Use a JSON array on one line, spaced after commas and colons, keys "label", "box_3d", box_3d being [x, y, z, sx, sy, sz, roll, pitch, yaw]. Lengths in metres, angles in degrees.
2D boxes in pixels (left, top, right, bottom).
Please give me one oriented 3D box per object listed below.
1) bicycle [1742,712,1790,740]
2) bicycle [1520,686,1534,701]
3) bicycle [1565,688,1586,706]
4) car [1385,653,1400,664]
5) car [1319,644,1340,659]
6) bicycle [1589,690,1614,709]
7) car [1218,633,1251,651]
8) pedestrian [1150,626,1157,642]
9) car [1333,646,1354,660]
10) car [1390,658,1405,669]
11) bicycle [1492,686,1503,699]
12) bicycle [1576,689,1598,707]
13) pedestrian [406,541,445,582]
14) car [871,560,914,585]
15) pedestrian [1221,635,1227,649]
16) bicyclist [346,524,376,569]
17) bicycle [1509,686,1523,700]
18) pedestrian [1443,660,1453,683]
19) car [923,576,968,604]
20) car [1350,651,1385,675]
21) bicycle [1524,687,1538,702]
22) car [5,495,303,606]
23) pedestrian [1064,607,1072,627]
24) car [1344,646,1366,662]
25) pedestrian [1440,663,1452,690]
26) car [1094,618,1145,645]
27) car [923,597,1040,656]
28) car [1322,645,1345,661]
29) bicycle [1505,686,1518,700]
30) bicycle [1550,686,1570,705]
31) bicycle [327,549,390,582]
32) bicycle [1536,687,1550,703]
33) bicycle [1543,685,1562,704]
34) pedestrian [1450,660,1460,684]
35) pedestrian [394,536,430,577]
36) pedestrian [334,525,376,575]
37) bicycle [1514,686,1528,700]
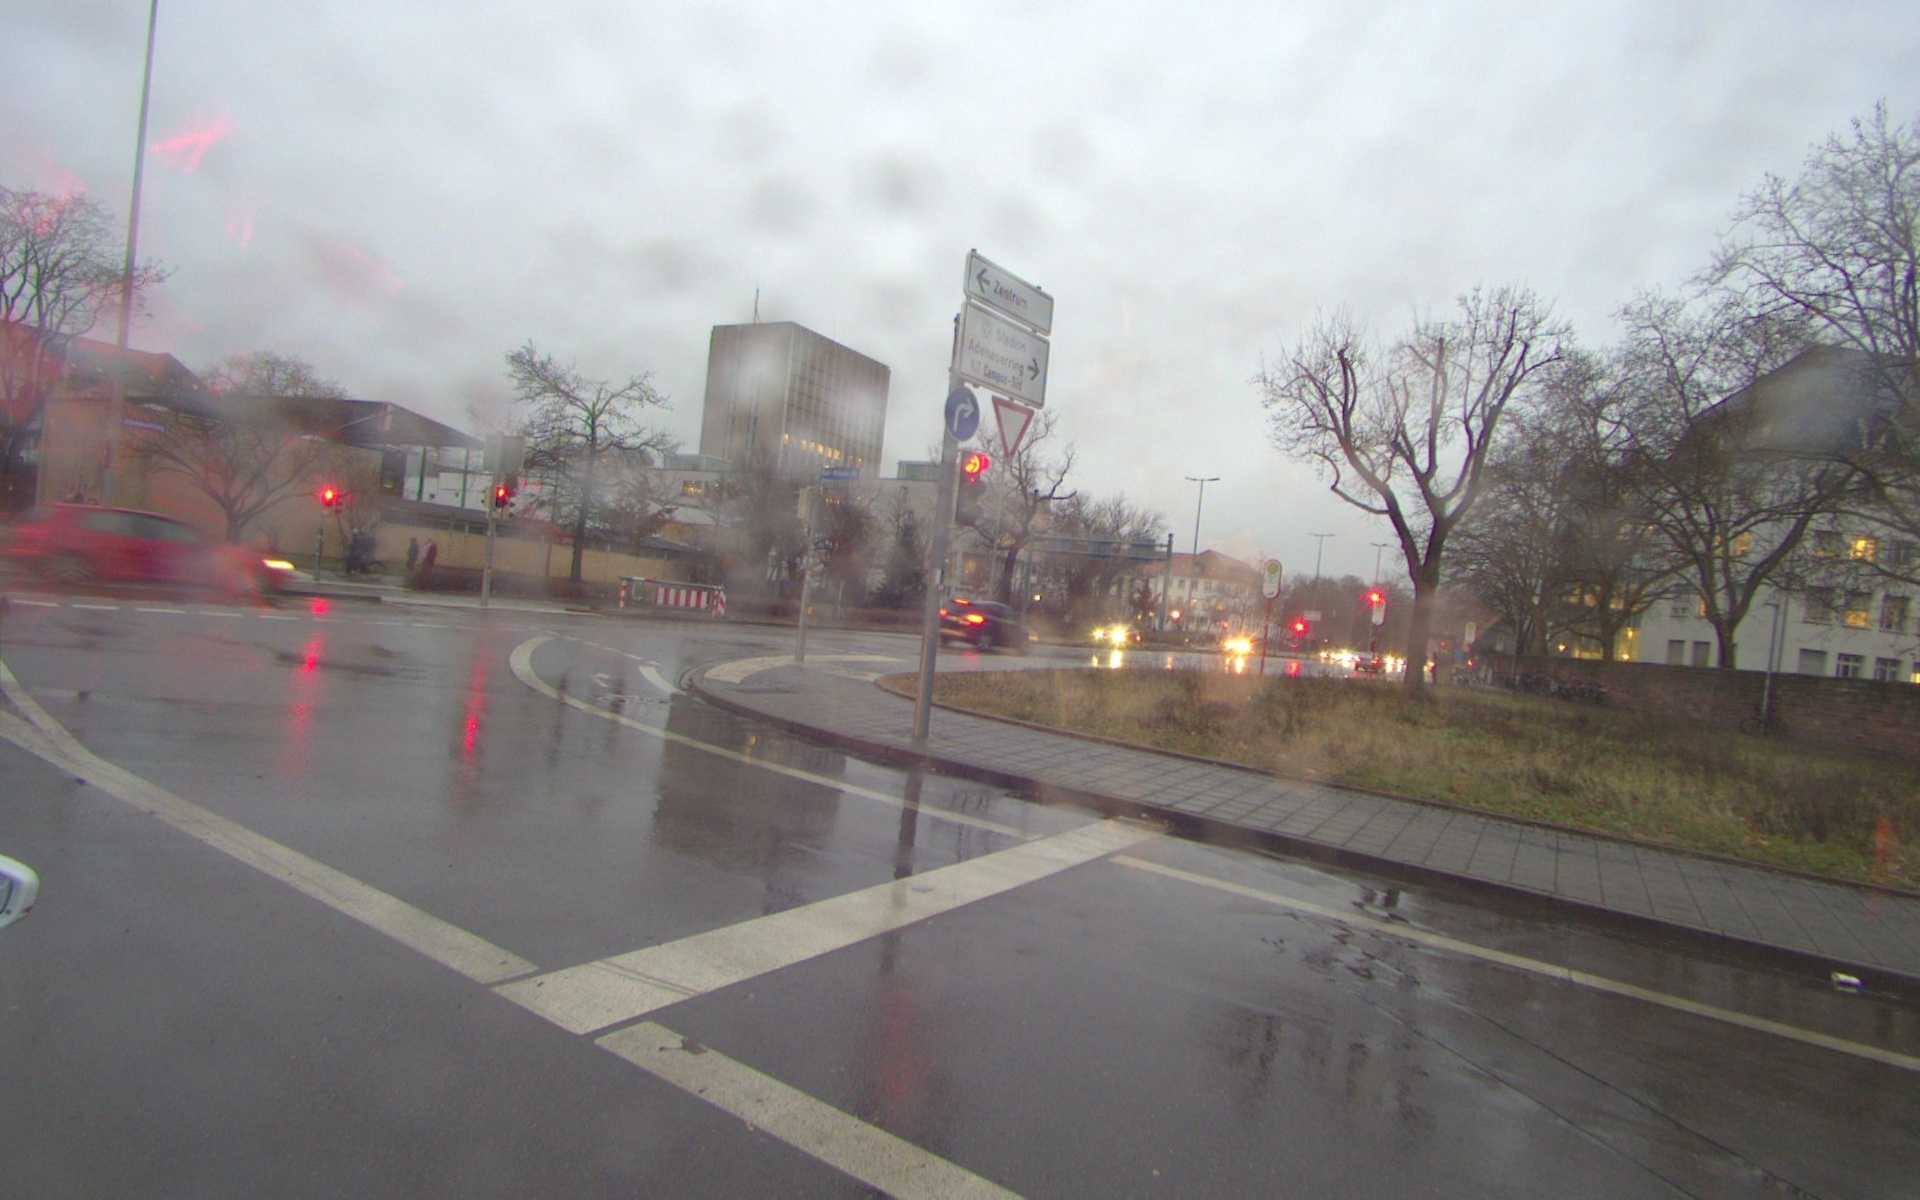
[{"label": "bicycle", "box_3d": [28.206, 4.401, 35.229, 0.387, 0.834, 1.386, 7, -2, -4]}, {"label": "bicycle", "box_3d": [33.327, 5.487, 59.148, 0.387, 0.795, 1.532, 7, -2, 20]}, {"label": "bicycle", "box_3d": [31.042, 4.877, 50.748, 0.343, 0.848, 1.493, 7, -2, 13]}, {"label": "car", "box_3d": [67.887, 9.179, 157.957, 1.745, 1.495, 3.915, 7, 1, 27]}, {"label": "car", "box_3d": [49.291, 6.857, 134.151, 1.966, 1.783, 3.992, 7, 1, 29]}, {"label": "bicycle", "box_3d": [30.279, 4.673, 47.479, 0.352, 0.795, 1.415, 7, -2, 8]}, {"label": "car", "box_3d": [26.981, 4.164, 98.787, 1.781, 1.496, 4.417, 6, 0, 31]}, {"label": "pedestrian", "box_3d": [21.465, 3.755, 111.806, 0.411, 1.725, 0.430, 6, 2, -19]}, {"label": "car", "box_3d": [53.579, 7.417, 140.423, 1.966, 1.783, 3.992, 7, 1, 29]}, {"label": "car", "box_3d": [77.673, 11.245, 178.691, 1.965, 1.783, 3.993, 7, 1, 27]}, {"label": "bicycle", "box_3d": [36.395, 6.246, 68.110, 0.387, 0.795, 1.532, 7, -2, 20]}, {"label": "bicycle", "box_3d": [30.553, 4.770, 49.003, 0.387, 0.795, 1.533, 7, -2, 14]}, {"label": "pedestrian", "box_3d": [-22.010, -1.580, 41.450, 1.025, 1.553, 0.925, 7, 2, 32]}, {"label": "car", "box_3d": [-7.095, -2.916, 106.467, 2.014, 2.102, 4.892, 6, 0, 30]}, {"label": "pedestrian", "box_3d": [32.974, 5.247, 125.671, 0.404, 1.713, 0.561, 7, 2, 28]}, {"label": "bicyclist", "box_3d": [-22.713, -2.032, 38.157, 0.649, 1.620, 0.684, 8, 2, 37]}, {"label": "bicycle", "box_3d": [34.354, 5.741, 62.155, 0.387, 0.795, 1.532, 7, -2, 20]}, {"label": "pedestrian", "box_3d": [44.195, 6.452, 91.154, 0.557, 2.040, 0.595, 8, 2, 33]}, {"label": "car", "box_3d": [-1.472, -1.005, 103.226, 2.014, 2.452, 5.326, 6, 0, 30]}, {"label": "car", "box_3d": [33.906, 5.246, 83.635, 1.811, 1.710, 4.311, 6, 0, 32]}, {"label": "bicycle", "box_3d": [32.845, 5.404, 57.869, 0.387, 0.795, 1.532, 7, -2, 19]}, {"label": "car", "box_3d": [-15.179, -0.886, 19.110, 1.816, 1.602, 4.116, 6, 0, 41]}, {"label": "pedestrian", "box_3d": [9.531, 1.526, 88.772, 0.411, 1.725, 0.430, 8, 3, 44]}, {"label": "car", "box_3d": [51.650, 7.065, 131.495, 1.966, 1.783, 3.992, 7, 1, 29]}, {"label": "pedestrian", "box_3d": [30.156, 4.733, 62.421, 0.462, 1.623, 0.486, 7, -1, 25]}, {"label": "car", "box_3d": [10.836, 2.155, 68.176, 1.781, 1.496, 4.418, 6, 0, 31]}, {"label": "car", "box_3d": [0.817, 0.966, 34.931, 1.813, 1.710, 4.307, 6, 0, 36]}, {"label": "car", "box_3d": [46.860, 6.656, 126.252, 1.966, 1.783, 3.992, 7, 1, 29]}, {"label": "bicycle", "box_3d": [34.855, 5.866, 63.629, 0.387, 0.795, 1.532, 7, -2, 20]}, {"label": "bicycle", "box_3d": [31.361, 4.980, 52.559, 0.387, 0.868, 1.532, 7, -2, 15]}, {"label": "bicycle", "box_3d": [-22.804, -1.300, 38.175, 0.649, 1.061, 1.882, 8, 1, 37]}, {"label": "bicycle", "box_3d": [32.417, 5.291, 55.956, 0.387, 0.795, 1.607, 7, -2, 22]}, {"label": "bicycle", "box_3d": [31.846, 5.075, 54.090, 0.387, 0.927, 1.532, 7, -2, 15]}, {"label": "pedestrian", "box_3d": [44.710, 6.507, 90.816, 0.557, 2.040, 0.595, 8, 2, 33]}, {"label": "pedestrian", "box_3d": [-22.862, -1.803, 41.967, 0.871, 1.553, 0.893, 7, 2, 32]}, {"label": "pedestrian", "box_3d": [-24.054, -1.984, 40.005, 0.904, 1.823, 0.997, 7, 2, 32]}, {"label": "bicycle", "box_3d": [33.833, 5.614, 60.667, 0.387, 0.795, 1.532, 7, -2, 20]}]
